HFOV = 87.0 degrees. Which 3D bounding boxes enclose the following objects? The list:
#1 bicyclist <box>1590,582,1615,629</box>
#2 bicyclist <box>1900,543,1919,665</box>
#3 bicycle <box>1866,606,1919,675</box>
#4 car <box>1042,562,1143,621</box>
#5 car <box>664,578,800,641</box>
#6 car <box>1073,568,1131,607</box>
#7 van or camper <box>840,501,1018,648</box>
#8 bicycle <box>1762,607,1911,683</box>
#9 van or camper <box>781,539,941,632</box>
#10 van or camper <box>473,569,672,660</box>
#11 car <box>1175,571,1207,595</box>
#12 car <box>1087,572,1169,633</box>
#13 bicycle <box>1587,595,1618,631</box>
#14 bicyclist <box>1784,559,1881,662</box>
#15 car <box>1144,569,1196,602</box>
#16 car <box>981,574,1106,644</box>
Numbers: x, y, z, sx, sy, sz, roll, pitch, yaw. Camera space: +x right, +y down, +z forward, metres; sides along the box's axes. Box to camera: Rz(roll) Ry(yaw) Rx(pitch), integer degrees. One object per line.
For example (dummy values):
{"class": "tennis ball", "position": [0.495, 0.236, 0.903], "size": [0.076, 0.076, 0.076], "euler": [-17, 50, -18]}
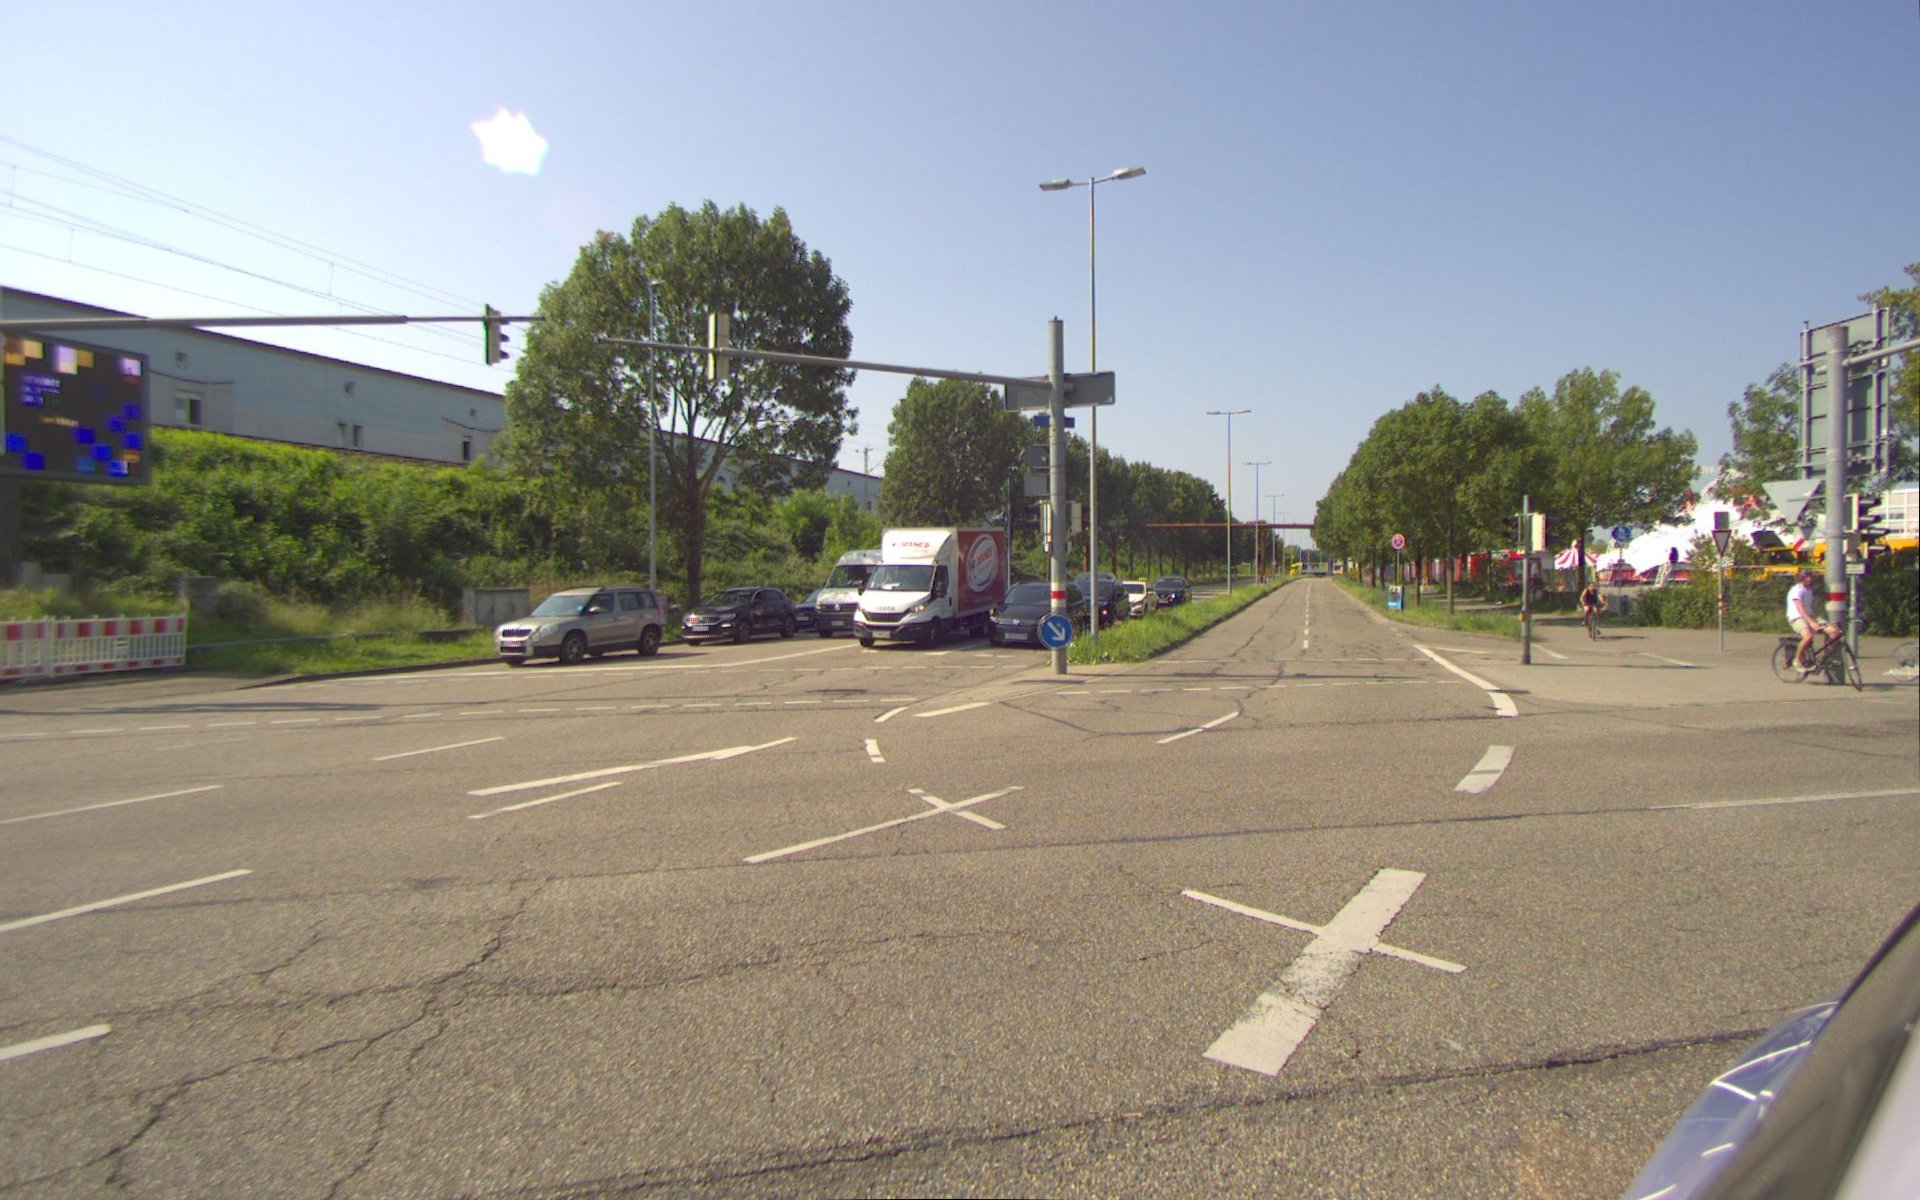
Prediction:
{"class": "bicyclist", "position": [19.310, 0.172, 30.421], "size": [0.501, 1.382, 0.686], "euler": [-3, -2, 42]}
{"class": "bicyclist", "position": [16.421, 0.061, 16.731], "size": [0.587, 2.039, 1.203], "euler": [-1, -1, 4]}
{"class": "bicycle", "position": [16.443, 0.685, 16.815], "size": [0.758, 1.101, 2.261], "euler": [-2, 0, 3]}
{"class": "car", "position": [4.550, -0.245, 33.956], "size": [2.120, 1.763, 5.185], "euler": [-2, -1, 22]}
{"class": "car", "position": [-6.332, 0.223, 28.555], "size": [1.973, 1.571, 3.978], "euler": [-2, 1, 18]}
{"class": "car", "position": [6.622, -0.540, 46.845], "size": [1.639, 1.686, 3.723], "euler": [-2, -1, 25]}
{"class": "van or camper", "position": [-0.588, -0.570, 27.178], "size": [2.223, 3.405, 6.800], "euler": [-2, -1, 22]}
{"class": "bicycle", "position": [14.290, 0.698, 16.604], "size": [0.760, 1.101, 2.215], "euler": [0, 1, 8]}
{"class": "van or camper", "position": [-2.837, -0.372, 31.366], "size": [2.221, 2.514, 6.820], "euler": [-2, -1, 20]}
{"class": "van or camper", "position": [-8.415, 0.308, 22.391], "size": [1.829, 1.799, 4.146], "euler": [-2, -1, 20]}
{"class": "car", "position": [16.332, -1.152, 71.517], "size": [1.778, 1.577, 3.975], "euler": [-2, -1, 18]}
{"class": "car", "position": [6.907, 0.109, 41.123], "size": [2.223, 2.290, 5.185], "euler": [-2, -1, 22]}
{"class": "bicycle", "position": [19.336, 0.386, 30.434], "size": [0.570, 1.069, 1.471], "euler": [-1, -1, 41]}
{"class": "bicyclist", "position": [14.251, 0.167, 16.573], "size": [0.588, 1.614, 1.202], "euler": [-2, -1, 8]}
{"class": "car", "position": [9.803, -0.641, 47.085], "size": [1.638, 1.416, 3.726], "euler": [-2, -1, 23]}
{"class": "car", "position": [2.335, 0.238, 26.853], "size": [1.883, 1.634, 5.157], "euler": [-2, -1, 22]}
